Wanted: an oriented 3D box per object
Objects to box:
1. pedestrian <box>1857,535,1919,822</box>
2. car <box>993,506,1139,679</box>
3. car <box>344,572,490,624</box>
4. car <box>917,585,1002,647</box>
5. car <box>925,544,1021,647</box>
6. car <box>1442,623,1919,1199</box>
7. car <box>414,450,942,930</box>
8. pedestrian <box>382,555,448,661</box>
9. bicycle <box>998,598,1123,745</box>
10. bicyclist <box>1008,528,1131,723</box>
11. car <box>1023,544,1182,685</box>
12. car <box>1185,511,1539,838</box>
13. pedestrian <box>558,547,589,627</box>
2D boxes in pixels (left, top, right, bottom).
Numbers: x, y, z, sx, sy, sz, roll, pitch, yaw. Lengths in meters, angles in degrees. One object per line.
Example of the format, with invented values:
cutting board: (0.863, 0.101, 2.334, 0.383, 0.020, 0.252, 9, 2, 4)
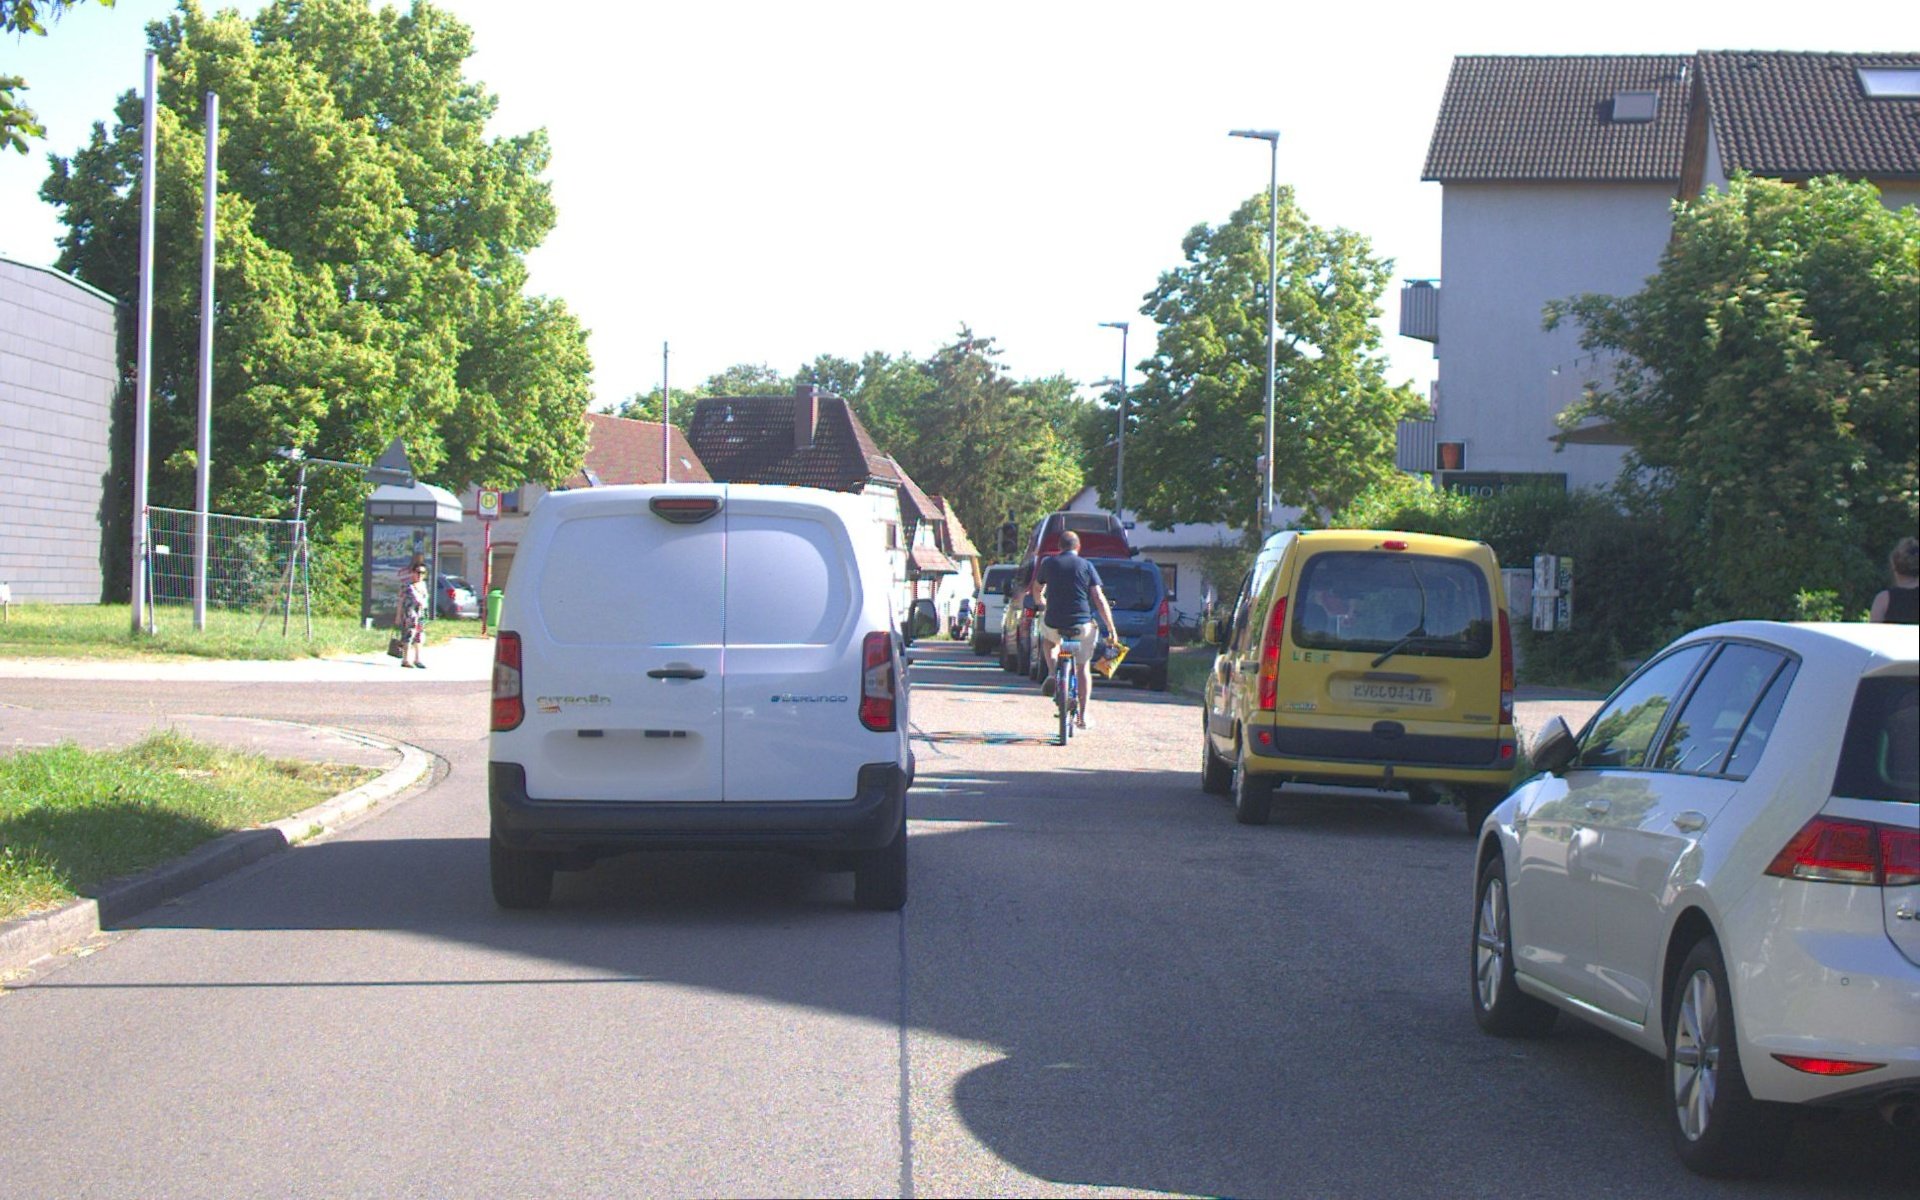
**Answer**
pedestrian: (5.544, 0.448, 19.859, 0.567, 1.631, 0.546, 2, 1, 4)
car: (1.667, -0.104, 55.595, 1.866, 2.554, 4.768, 4, 0, -2)
car: (-16.438, -0.062, 104.056, 3.980, 1.424, 1.714, 2, 0, 17)
car: (0.011, 0.539, 112.614, 1.805, 1.836, 3.997, 4, 0, 13)
car: (0.255, -0.087, 74.818, 1.804, 2.062, 4.000, 4, 0, -2)
car: (2.712, 0.851, 10.110, 1.826, 1.447, 4.000, 2, 0, -2)
car: (-1.155, 0.335, 16.064, 1.993, 1.875, 4.289, 2, 1, 1)
pedestrian: (-7.702, 0.119, 48.604, 0.510, 1.441, 0.638, 5, 1, 32)
bicycle: (0.828, 0.580, 29.000, 0.786, 1.135, 2.280, 3, 0, -4)
bicyclist: (0.916, 0.213, 28.962, 0.905, 1.579, 0.966, 2, 0, -2)
car: (1.962, 0.204, 48.420, 1.804, 1.779, 4.000, 4, 0, -2)
car: (2.458, 0.418, 21.904, 1.724, 1.831, 4.000, 2, 0, 0)
pedestrian: (-8.869, -0.294, 78.889, 0.621, 1.799, 0.640, 2, -1, -2)
